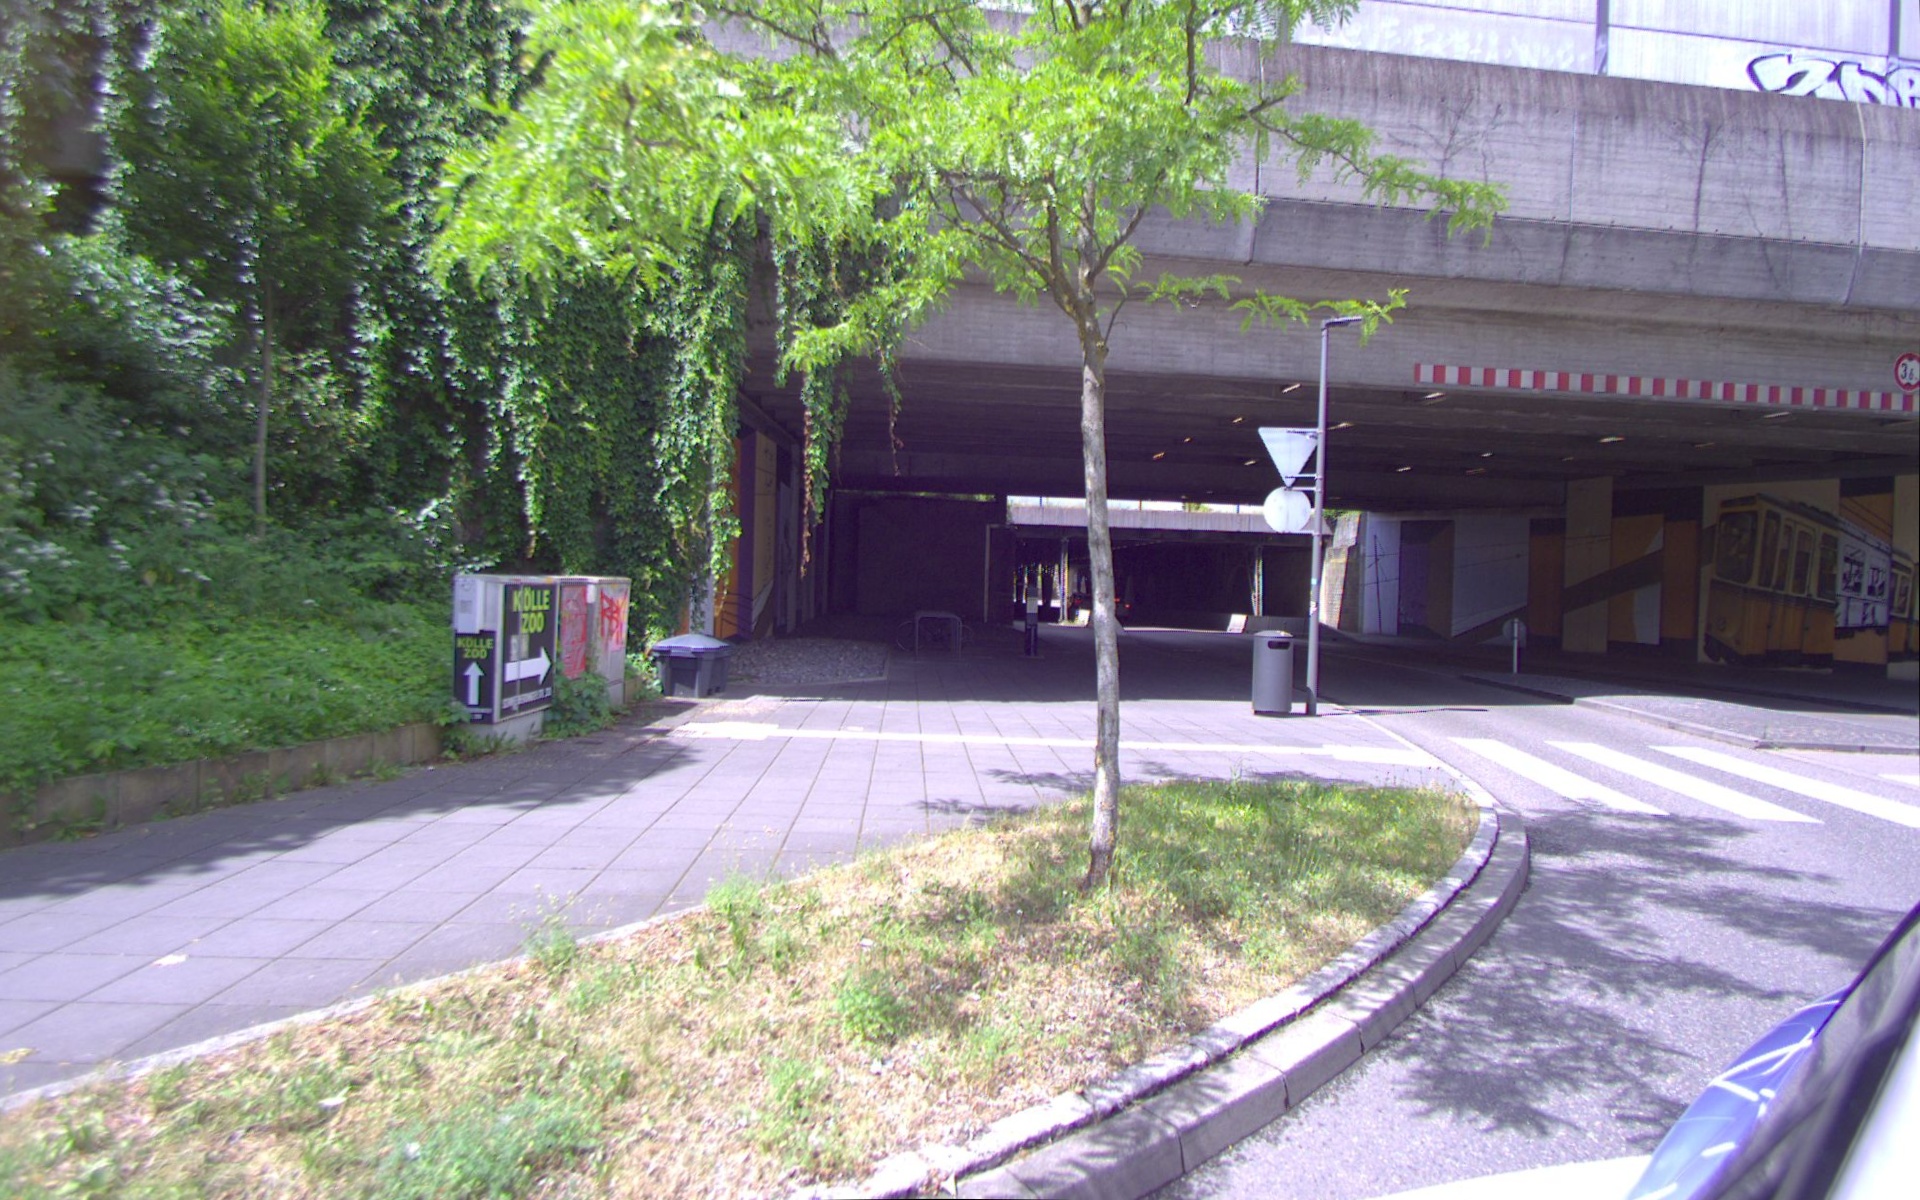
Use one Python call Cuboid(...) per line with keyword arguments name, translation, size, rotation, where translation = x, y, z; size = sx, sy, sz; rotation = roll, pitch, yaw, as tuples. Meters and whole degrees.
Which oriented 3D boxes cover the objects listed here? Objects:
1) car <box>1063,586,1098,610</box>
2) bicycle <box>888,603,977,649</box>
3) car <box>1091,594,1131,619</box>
Cuboid(name="car", translation=(9.120, -0.187, 76.793), size=(1.795, 1.674, 4.218), rotation=(3, 0, -4))
Cuboid(name="bicycle", translation=(-0.625, 0.584, 22.616), size=(1.913, 0.915, 0.507), rotation=(2, 1, -4))
Cuboid(name="car", translation=(9.745, 0.387, 65.485), size=(1.643, 1.465, 3.856), rotation=(3, 0, -4))
